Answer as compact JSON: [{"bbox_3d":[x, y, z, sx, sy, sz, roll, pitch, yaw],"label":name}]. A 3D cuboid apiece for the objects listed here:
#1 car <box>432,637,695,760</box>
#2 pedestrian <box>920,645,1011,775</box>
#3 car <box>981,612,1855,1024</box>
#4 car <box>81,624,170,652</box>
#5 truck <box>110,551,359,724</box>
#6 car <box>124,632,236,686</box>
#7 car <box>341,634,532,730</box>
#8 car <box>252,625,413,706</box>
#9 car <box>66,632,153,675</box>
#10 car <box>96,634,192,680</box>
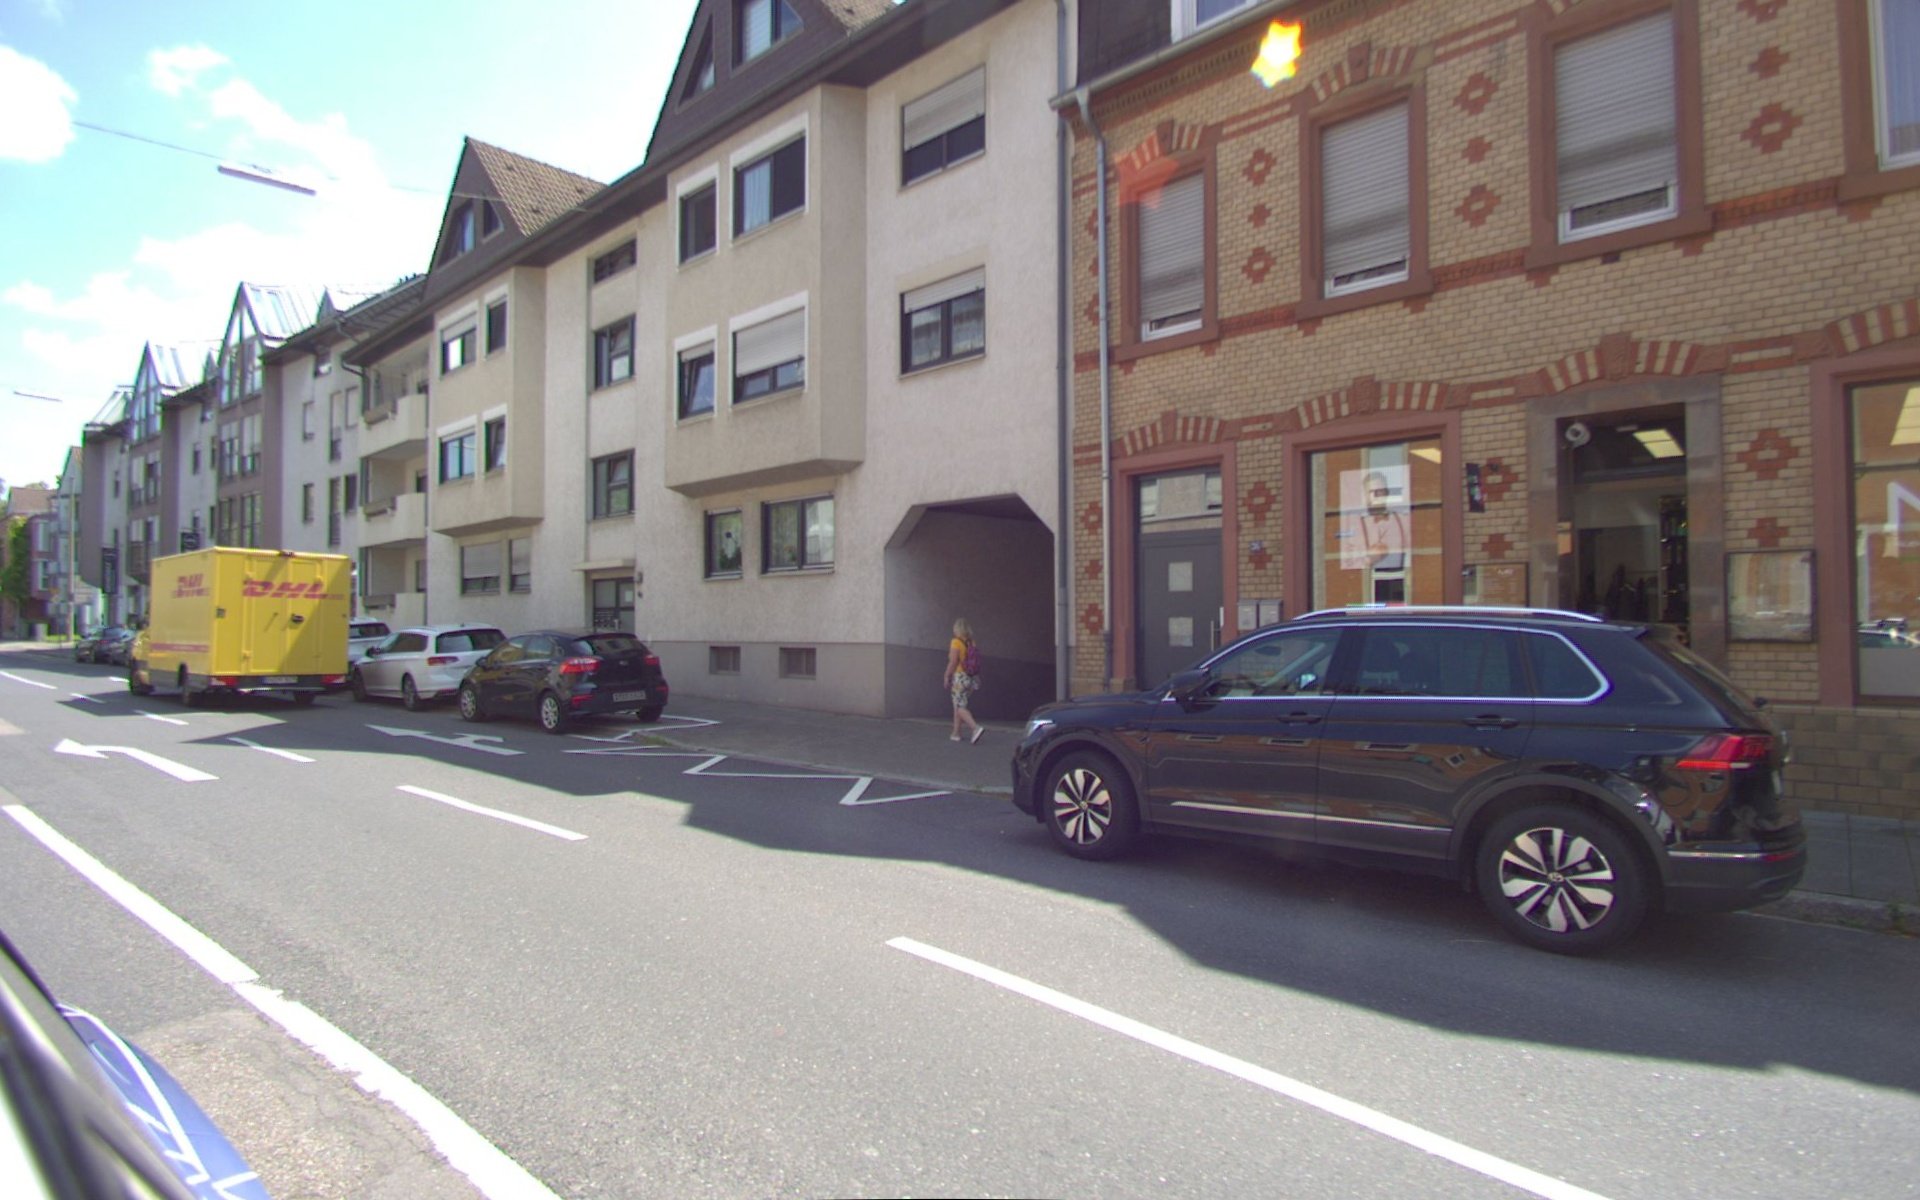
[{"bbox_3d":[-6.171,1.383,15.499,4.498,1.499,1.821,-1,0,40],"label":"car"},{"bbox_3d":[0.065,1.331,12.552,0.971,1.506,0.601,-2,-2,43],"label":"pedestrian"},{"bbox_3d":[2.439,0.938,6.178,4.501,1.609,1.820,-1,-4,42],"label":"car"},{"bbox_3d":[-51.672,2.364,62.683,1.730,1.463,3.949,-3,0,38],"label":"car"},{"bbox_3d":[-14.329,0.731,19.719,7.561,2.792,2.202,-1,-4,42],"label":"truck"},{"bbox_3d":[-24.579,1.790,31.837,4.382,1.500,1.822,-1,0,39],"label":"car"},{"bbox_3d":[-9.975,1.453,19.122,4.386,1.499,1.820,-1,0,43],"label":"car"},{"bbox_3d":[-14.326,1.403,23.003,4.382,1.608,1.821,-1,0,40],"label":"car"},{"bbox_3d":[-32.471,1.991,38.582,4.966,1.458,1.820,-1,0,41],"label":"car"},{"bbox_3d":[-28.540,1.942,35.344,4.324,1.394,1.821,-1,0,40],"label":"car"}]
